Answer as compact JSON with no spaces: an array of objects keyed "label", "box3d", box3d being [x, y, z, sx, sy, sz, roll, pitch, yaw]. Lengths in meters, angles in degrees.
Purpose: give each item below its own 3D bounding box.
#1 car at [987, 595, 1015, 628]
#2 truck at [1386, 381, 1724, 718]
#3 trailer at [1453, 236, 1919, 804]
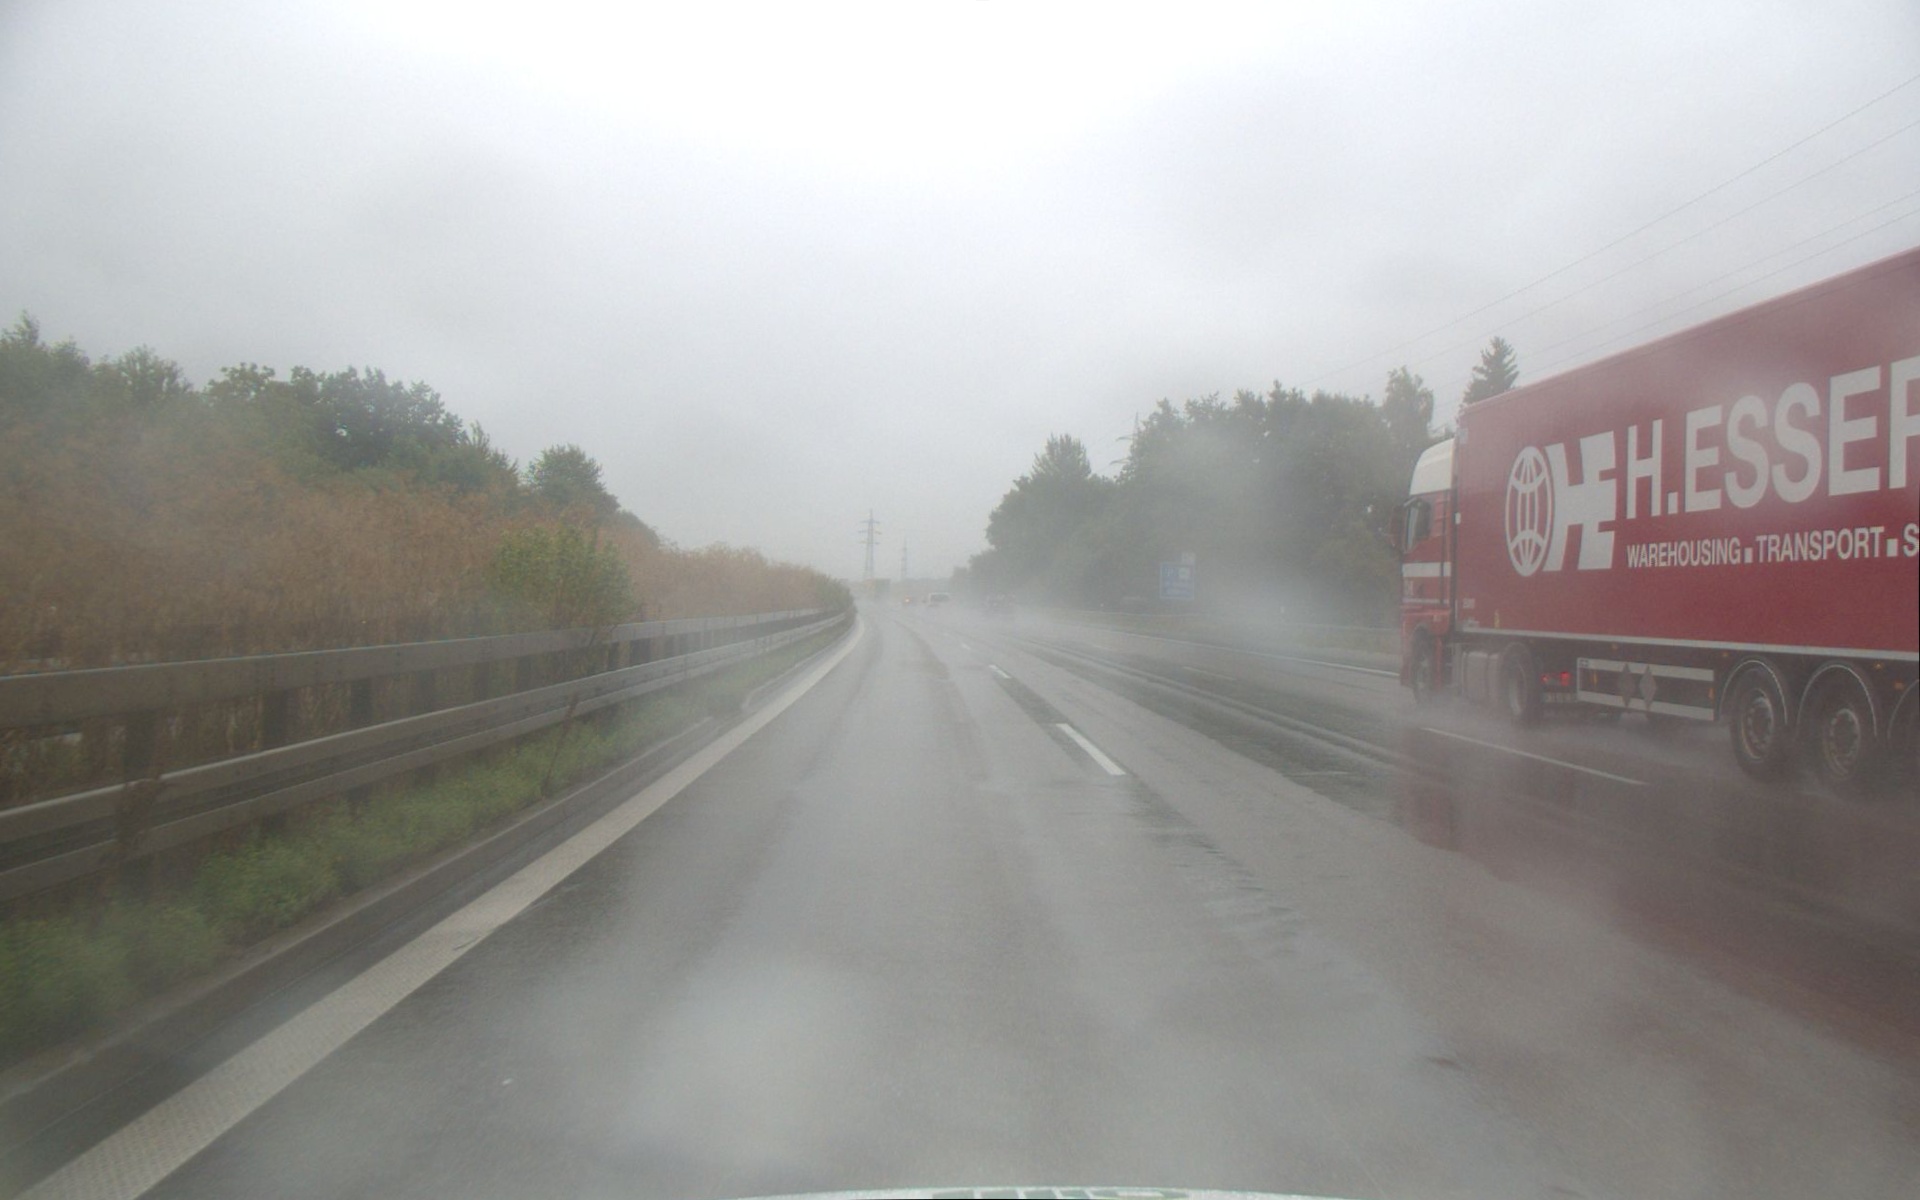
[{"label":"car","box3d":[2.780,0.788,113.677,1.770,2.196,3.999,1,0,-1]},{"label":"truck","box3d":[7.834,-0.604,22.542,2.567,4.024,5.431,0,0,-1]},{"label":"trailer","box3d":[8.002,-0.561,15.250,2.567,4.024,13.626,0,0,-1]}]
